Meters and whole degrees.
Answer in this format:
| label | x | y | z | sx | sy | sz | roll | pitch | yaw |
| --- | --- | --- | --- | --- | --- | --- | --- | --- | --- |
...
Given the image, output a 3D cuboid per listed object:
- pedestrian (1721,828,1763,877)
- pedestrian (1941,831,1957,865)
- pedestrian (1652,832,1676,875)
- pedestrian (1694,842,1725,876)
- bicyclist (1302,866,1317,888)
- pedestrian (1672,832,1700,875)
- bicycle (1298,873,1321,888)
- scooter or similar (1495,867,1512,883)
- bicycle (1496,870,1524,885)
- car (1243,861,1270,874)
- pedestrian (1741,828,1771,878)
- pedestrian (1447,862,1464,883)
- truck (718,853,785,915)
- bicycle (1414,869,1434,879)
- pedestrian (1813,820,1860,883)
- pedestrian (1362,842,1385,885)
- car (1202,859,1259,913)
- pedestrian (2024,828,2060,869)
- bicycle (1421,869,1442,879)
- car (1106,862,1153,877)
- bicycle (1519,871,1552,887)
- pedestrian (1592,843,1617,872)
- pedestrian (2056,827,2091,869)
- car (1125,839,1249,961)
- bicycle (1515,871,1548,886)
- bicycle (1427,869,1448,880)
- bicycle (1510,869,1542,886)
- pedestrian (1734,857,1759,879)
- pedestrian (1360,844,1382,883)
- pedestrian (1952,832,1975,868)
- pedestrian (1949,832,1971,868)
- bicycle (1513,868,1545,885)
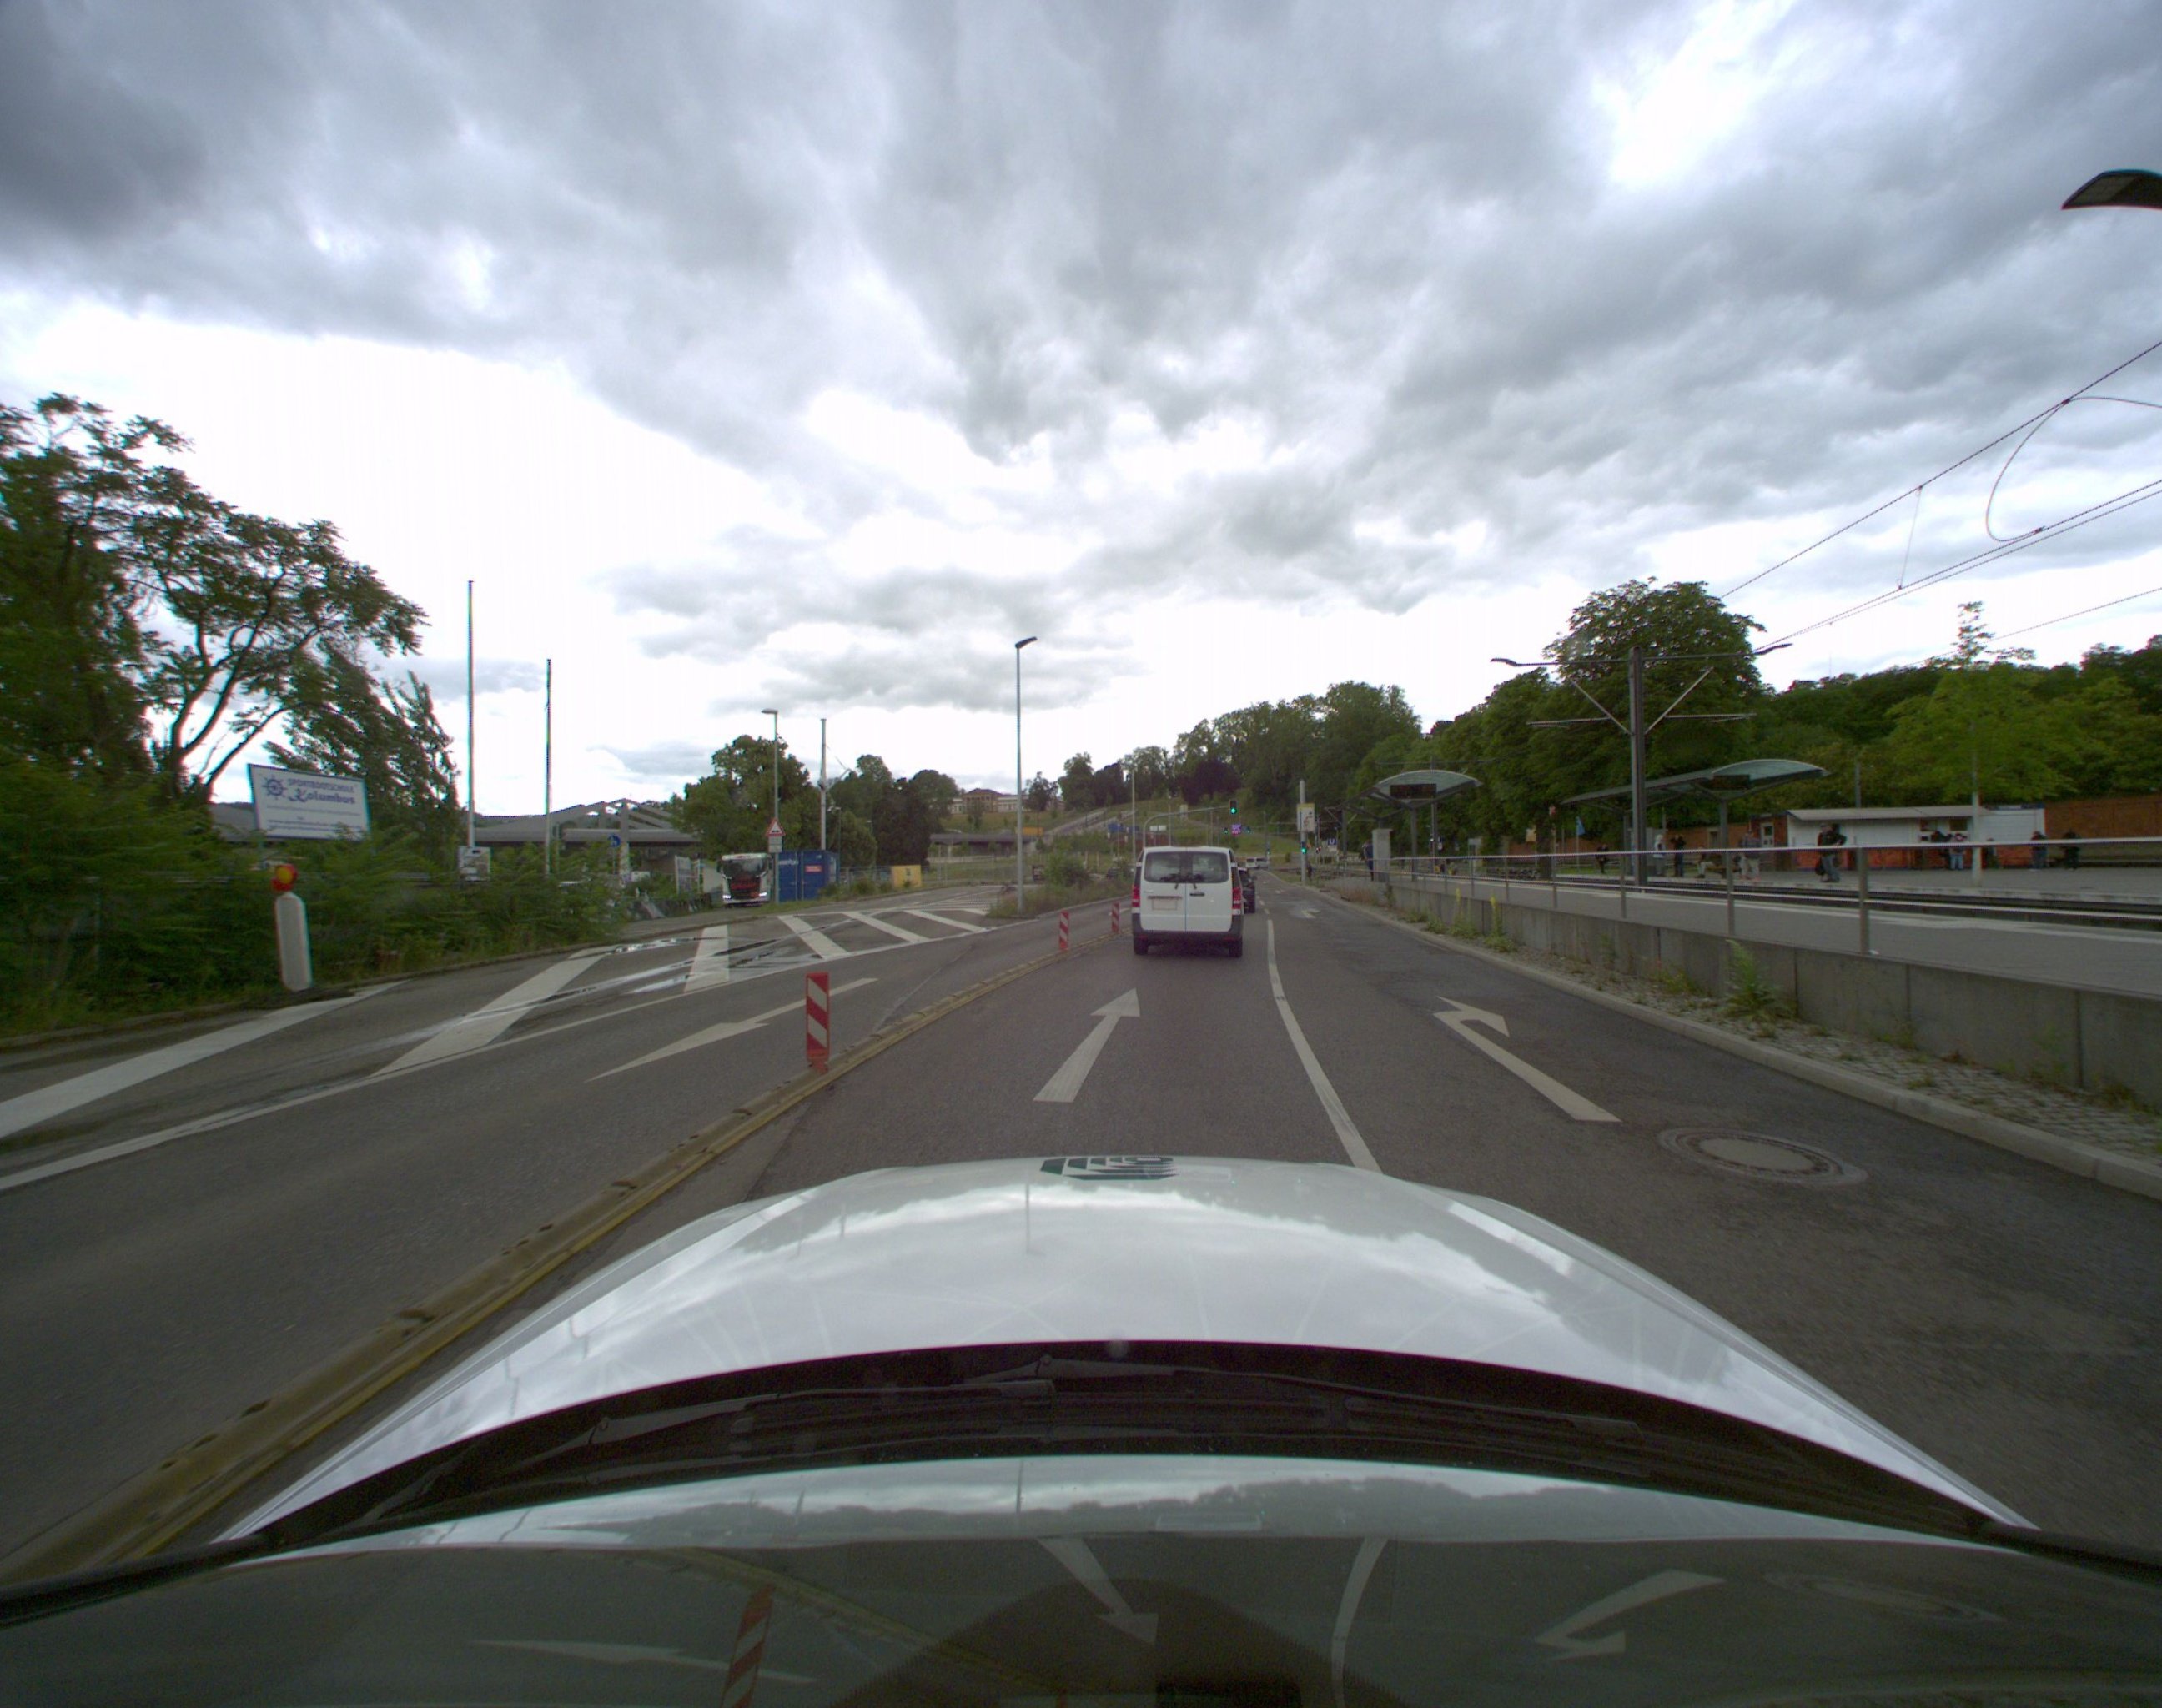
| label | x | y | z | sx | sy | sz | roll | pitch | yaw |
| --- | --- | --- | --- | --- | --- | --- | --- | --- | --- |
| pedestrian | 22.961 | -0.053 | 28.297 | 0.857 | 1.677 | 0.761 | 1 | -2 | 1 |
| pedestrian | 37.999 | -0.254 | 35.648 | 0.339 | 1.487 | 0.317 | 1 | -2 | 14 |
| pedestrian | 23.223 | -0.015 | 32.435 | 0.541 | 1.677 | 0.677 | 1 | -2 | 8 |
| pedestrian | 22.259 | 0.177 | 28.854 | 0.653 | 1.191 | 0.678 | 1 | -2 | 12 |
| bicyclist | 16.747 | 1.667 | 59.721 | 0.808 | 1.572 | 0.612 | -1 | -1 | -28 |
| pedestrian | 23.859 | -0.002 | 32.131 | 0.670 | 1.677 | 0.678 | 1 | -2 | 8 |
| bicycle | 16.740 | 1.944 | 59.703 | 1.688 | 1.074 | 0.615 | -1 | 0 | -29 |
| scooter or similar | 31.605 | 1.576 | 60.925 | 1.151 | 1.139 | 0.335 | 0 | -2 | 35 |
| bicycle | 31.181 | 1.691 | 59.253 | 1.752 | 1.034 | 0.485 | 1 | -2 | 11 |
| car | 27.345 | 2.155 | 126.673 | 2.179 | 2.014 | 5.183 | -1 | -2 | 35 |
| pedestrian | 22.441 | -0.027 | 27.083 | 0.521 | 1.620 | 0.678 | 1 | -2 | 13 |
| pedestrian | 28.534 | 1.420 | 62.051 | 0.833 | 1.609 | 0.775 | -2 | -2 | -11 |
| truck | -19.865 | 1.741 | 49.548 | 2.799 | 3.336 | 8.430 | -2 | -1 | -16 |
| bicycle | 36.487 | 2.087 | 86.610 | 1.900 | 0.975 | 0.532 | -2 | -2 | 11 |
| pedestrian | 22.493 | -0.075 | 24.255 | 0.628 | 1.838 | 0.953 | 1 | -2 | 13 |
| pedestrian | 11.734 | 0.382 | 32.661 | 0.765 | 1.699 | 0.734 | 1 | 0 | 12 |
| car | 5.217 | 1.093 | 28.475 | 1.827 | 1.729 | 4.073 | 0 | -1 | 10 |
| pedestrian | 37.324 | -0.211 | 31.643 | 0.652 | 1.583 | 0.622 | 1 | -2 | -3 |
| bicycle | 35.989 | 2.061 | 83.588 | 1.900 | 0.975 | 0.532 | -2 | -2 | 11 |
| car | 5.338 | 1.738 | 89.226 | 4.669 | 1.477 | 2.010 | -2 | -1 | 21 |
| bicycle | 30.396 | 1.668 | 54.430 | 1.861 | 0.963 | 0.534 | 1 | -2 | 11 |
| pedestrian | 24.440 | 0.193 | 38.057 | 0.669 | 1.324 | 0.970 | 1 | -2 | 10 |
| pedestrian | 37.775 | -0.229 | 31.003 | 0.582 | 1.583 | 0.622 | 1 | -2 | -2 |
| car | 2.058 | 0.776 | 15.162 | 1.947 | 1.904 | 4.473 | 0 | -1 | 10 |
| bicycle | 30.517 | 1.678 | 55.148 | 1.861 | 0.963 | 0.534 | 1 | -2 | 11 |
| bicycle | 35.521 | 2.051 | 81.163 | 1.900 | 0.975 | 0.532 | -2 | -2 | 11 |
| bicycle | 30.614 | 1.622 | 55.985 | 1.861 | 1.139 | 0.534 | 1 | -2 | 11 |
| pedestrian | 22.955 | 0.470 | 28.095 | 0.557 | 0.740 | 0.426 | 1 | -2 | 20 |
| pedestrian | 11.889 | 0.384 | 33.422 | 0.745 | 1.553 | 0.777 | 1 | 0 | 12 |
| pedestrian | 37.302 | -0.169 | 34.428 | 0.481 | 1.487 | 0.461 | 1 | -2 | 14 |
| pedestrian | 37.640 | -0.175 | 34.878 | 0.481 | 1.535 | 0.461 | 1 | -2 | 14 |
| bicycle | 31.277 | 1.590 | 56.870 | 1.861 | 1.139 | 0.534 | 1 | -2 | 11 |
